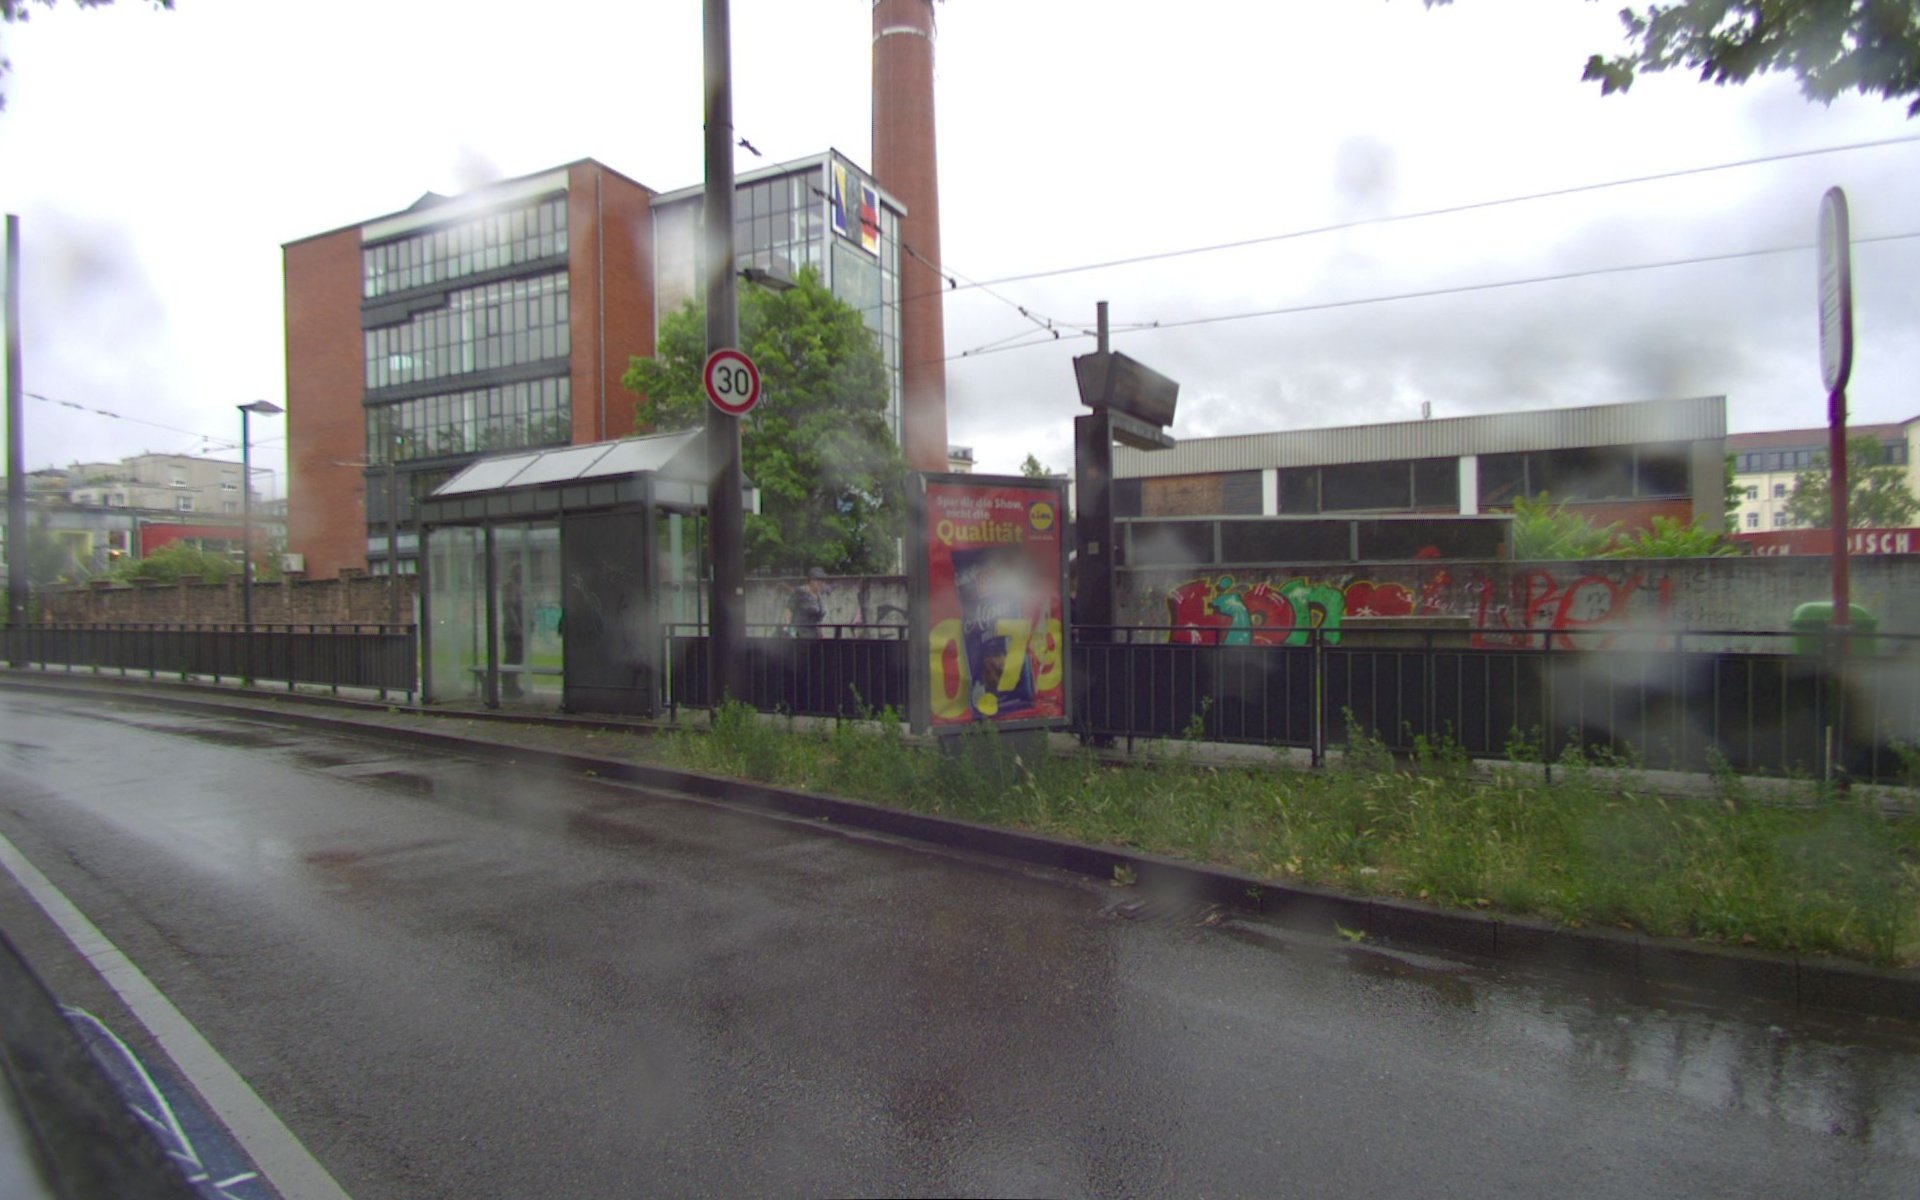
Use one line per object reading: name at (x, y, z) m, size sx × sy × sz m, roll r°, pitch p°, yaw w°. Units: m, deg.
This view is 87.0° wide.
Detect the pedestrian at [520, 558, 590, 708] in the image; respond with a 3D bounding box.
pedestrian at (-4.915, 0.383, 12.273) m, size 0.620 × 1.762 × 0.565 m, roll -1°, pitch 0°, yaw -41°

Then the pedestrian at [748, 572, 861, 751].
pedestrian at (-1.657, 0.626, 10.820) m, size 0.841 × 1.818 × 0.819 m, roll -1°, pitch 0°, yaw 30°

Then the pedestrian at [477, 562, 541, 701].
pedestrian at (-5.863, 0.395, 13.160) m, size 0.620 × 1.762 × 0.515 m, roll -1°, pitch 0°, yaw -41°
